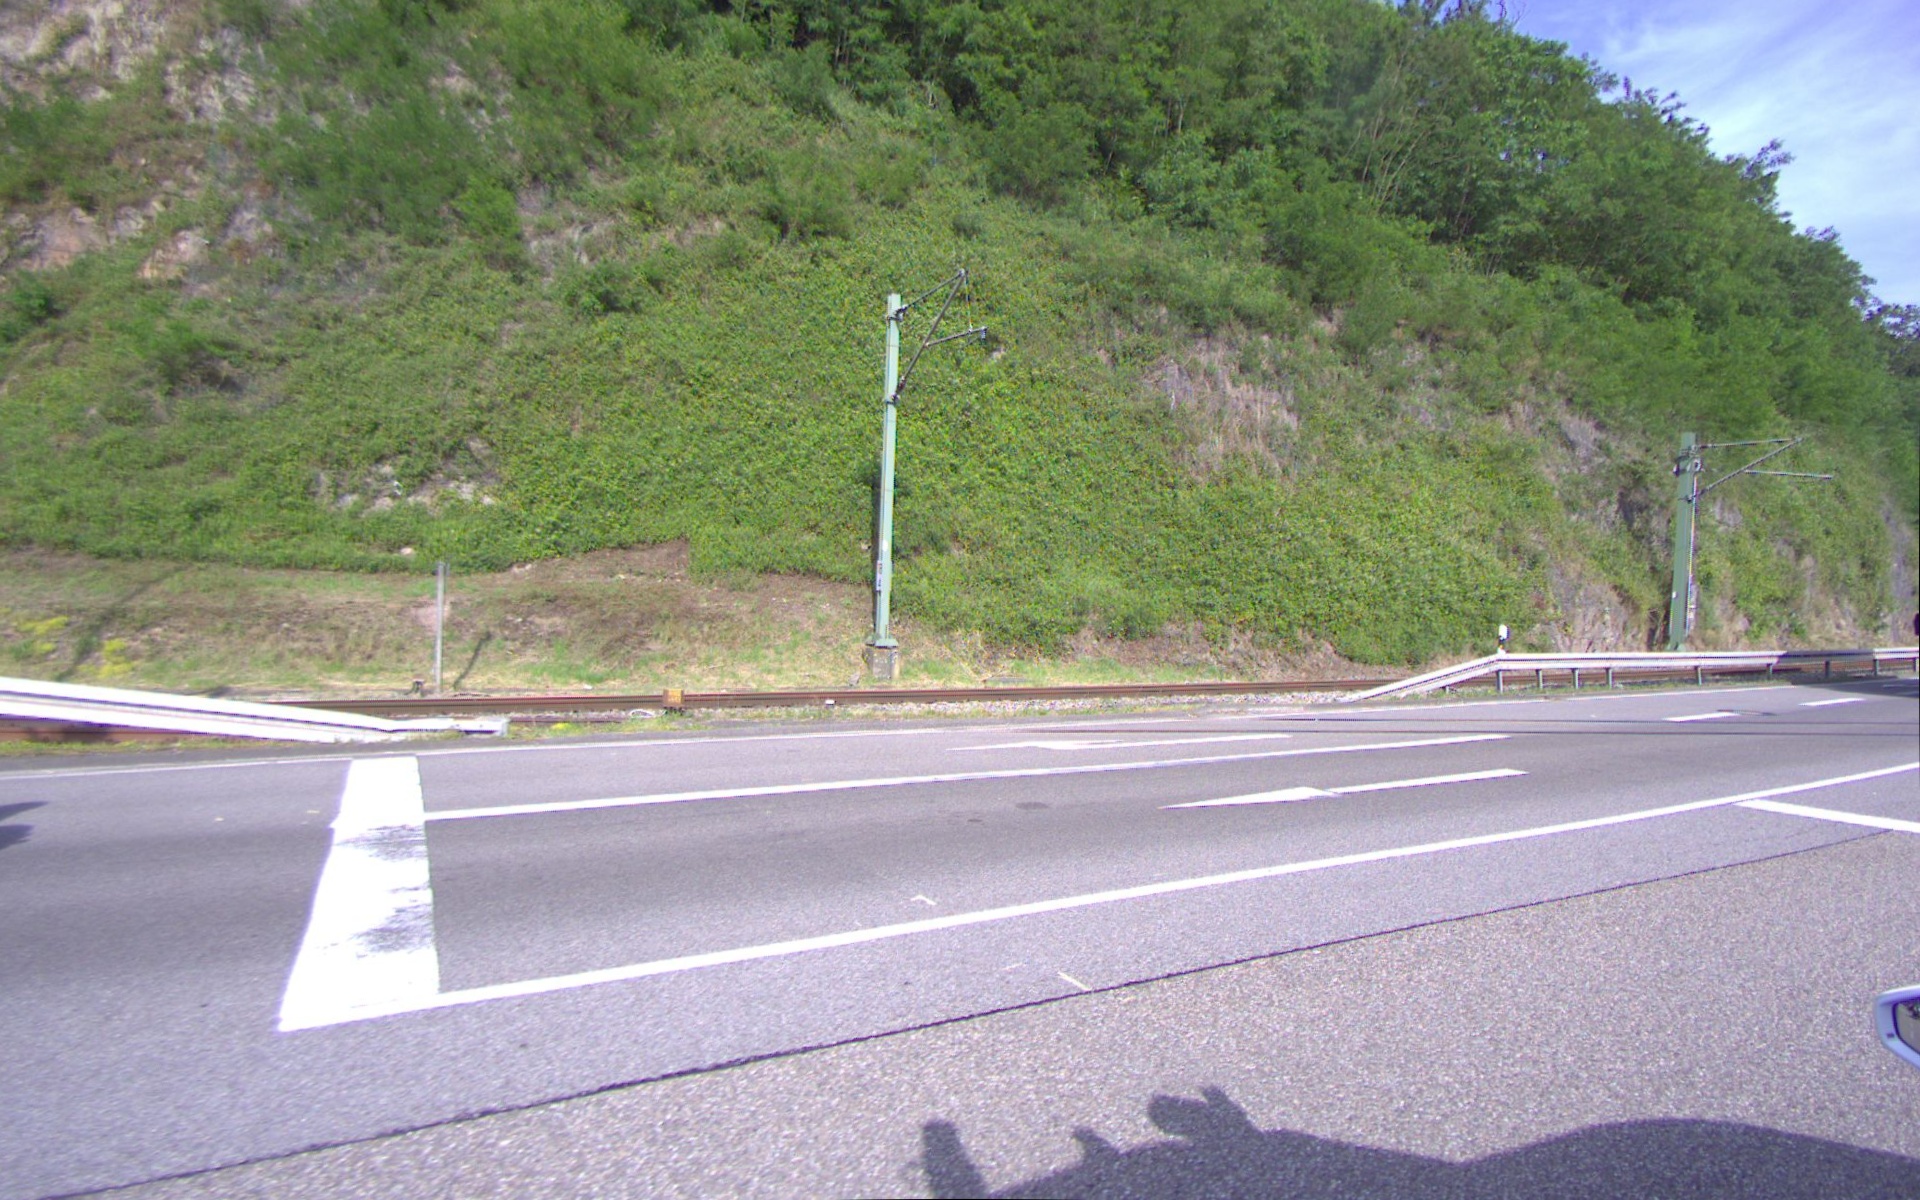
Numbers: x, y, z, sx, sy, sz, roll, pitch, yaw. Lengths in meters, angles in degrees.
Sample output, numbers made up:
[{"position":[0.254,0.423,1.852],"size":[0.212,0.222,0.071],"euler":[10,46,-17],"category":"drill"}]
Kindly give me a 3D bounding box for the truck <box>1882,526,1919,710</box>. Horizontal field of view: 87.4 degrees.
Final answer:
[{"position":[24.212,0.475,22.812],"size":[8.802,3.849,2.879],"euler":[1,0,-34],"category":"truck"}]
